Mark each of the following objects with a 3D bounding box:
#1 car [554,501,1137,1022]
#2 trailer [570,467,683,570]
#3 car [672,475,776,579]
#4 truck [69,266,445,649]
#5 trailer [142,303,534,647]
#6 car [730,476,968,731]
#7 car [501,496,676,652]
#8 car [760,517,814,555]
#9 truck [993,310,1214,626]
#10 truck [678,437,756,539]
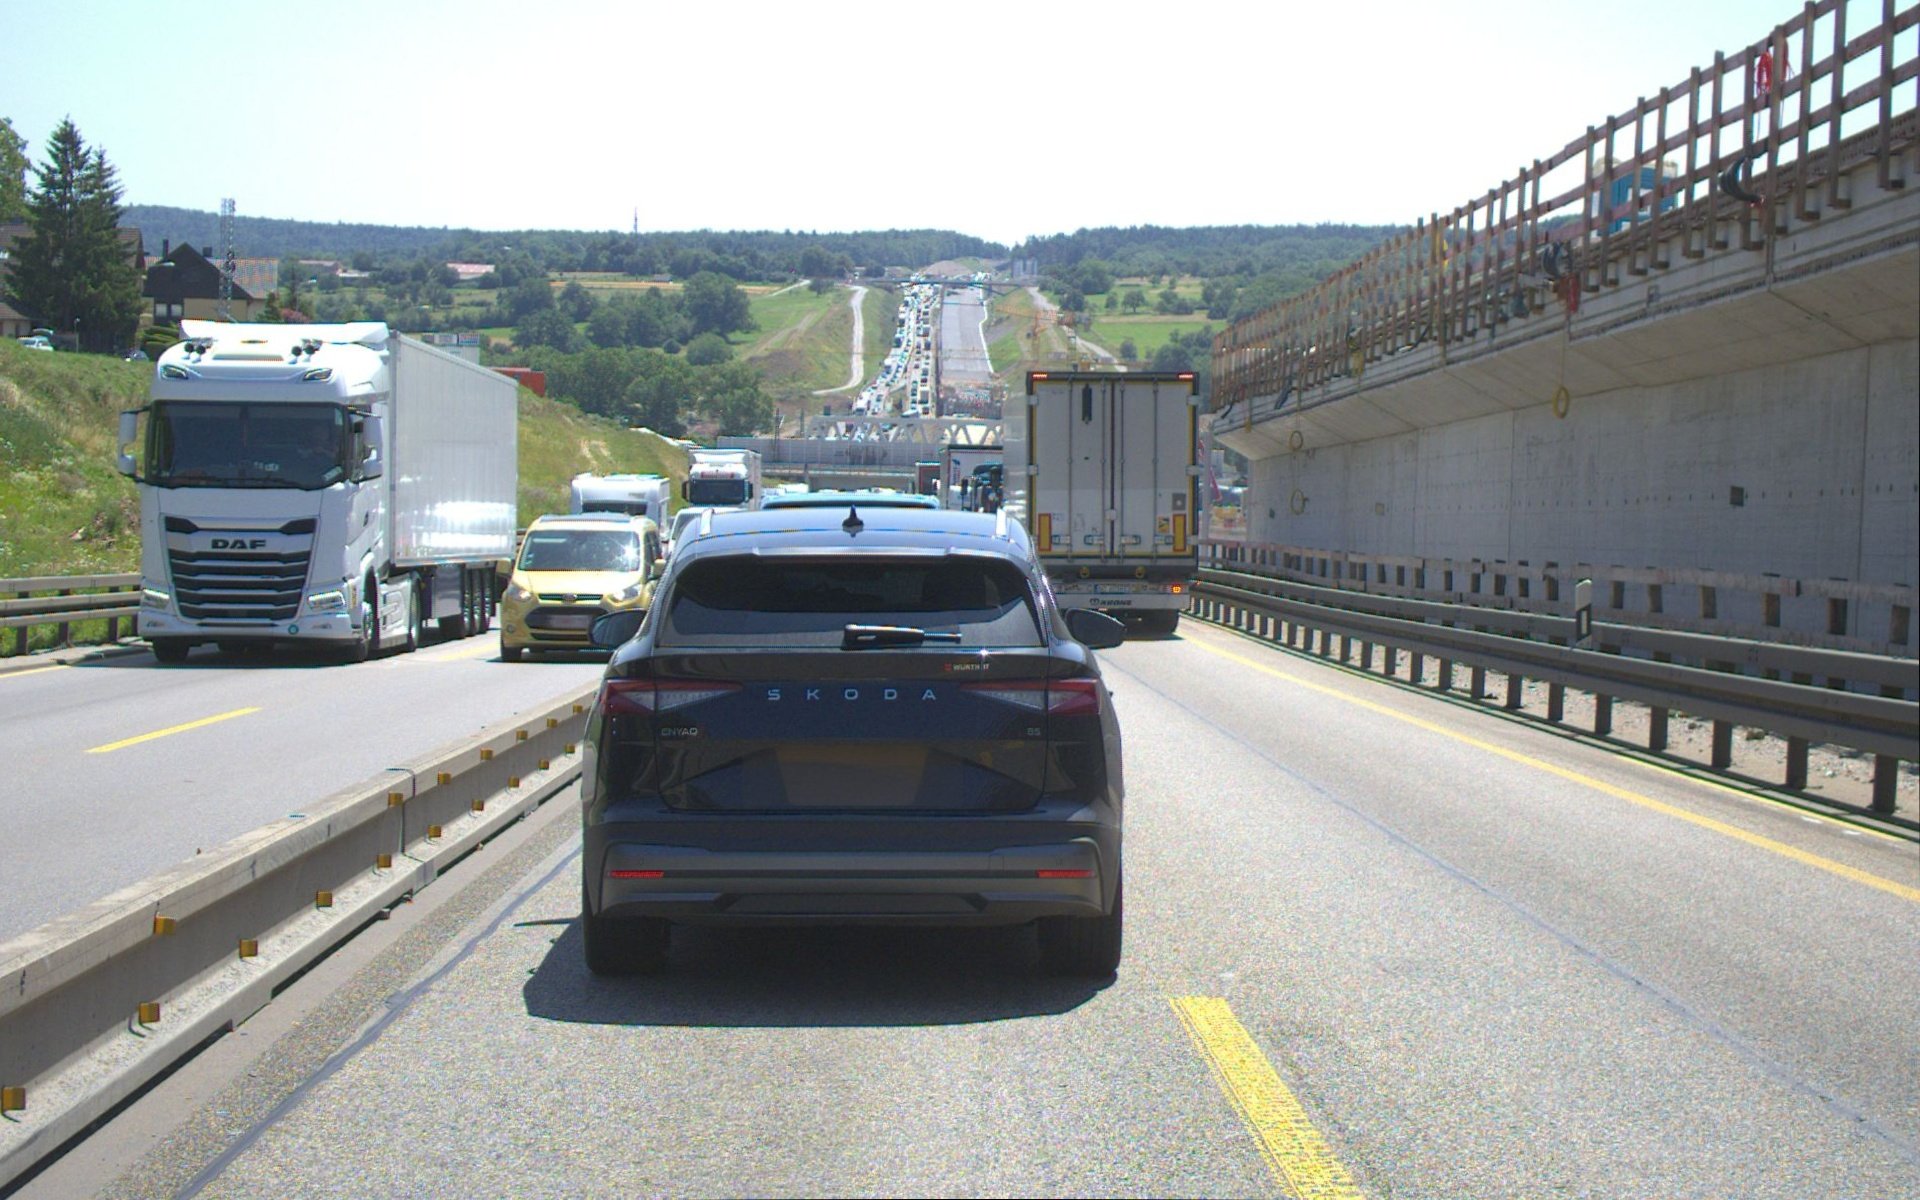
[{"bbox_3d":[-0.432,0.475,12.558,1.782,1.592,3.756,1,1,-2],"label":"car"},{"bbox_3d":[-8.829,-2.125,91.481,2.484,2.604,5.867,0,0,0],"label":"trailer"},{"bbox_3d":[-4.781,-1.445,70.096,1.862,2.007,4.806,1,0,-1],"label":"car"},{"bbox_3d":[-8.364,-1.618,41.768,3.180,4.223,6.485,1,0,0],"label":"truck"},{"bbox_3d":[-8.409,-1.663,48.595,3.220,4.144,13.409,1,1,-1],"label":"trailer"},{"bbox_3d":[-0.980,-0.003,28.706,1.749,1.888,3.756,3,1,-4],"label":"car"},{"bbox_3d":[-4.582,-0.349,42.952,1.775,1.814,4.434,1,1,-1],"label":"car"},{"bbox_3d":[-6.329,-2.341,126.362,1.771,1.284,4.000,2,0,0],"label":"car"},{"bbox_3d":[2.189,-1.989,56.975,2.846,4.599,11.812,2,0,-1],"label":"truck"},{"bbox_3d":[-10.351,-4.760,147.161,2.753,4.212,8.100,1,1,0],"label":"truck"}]
